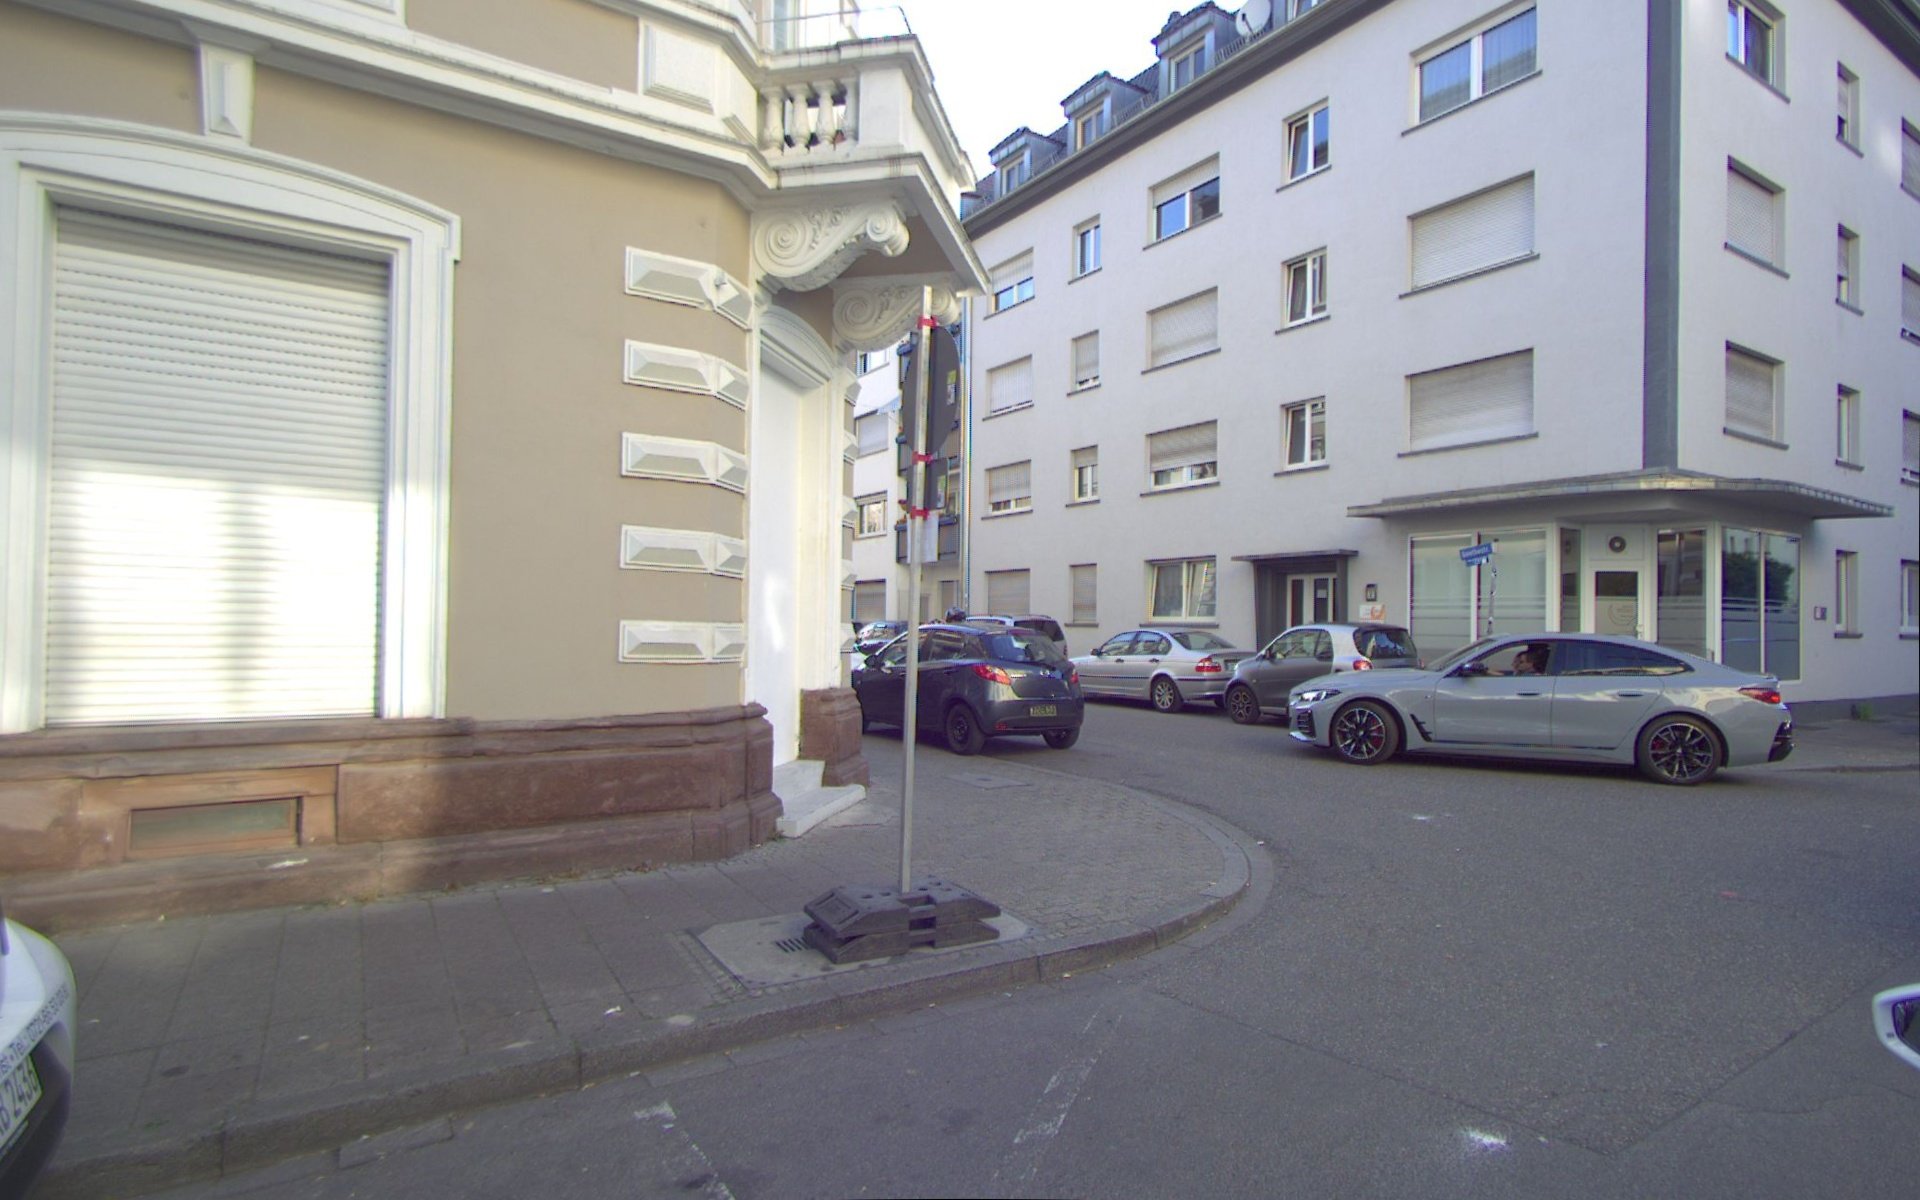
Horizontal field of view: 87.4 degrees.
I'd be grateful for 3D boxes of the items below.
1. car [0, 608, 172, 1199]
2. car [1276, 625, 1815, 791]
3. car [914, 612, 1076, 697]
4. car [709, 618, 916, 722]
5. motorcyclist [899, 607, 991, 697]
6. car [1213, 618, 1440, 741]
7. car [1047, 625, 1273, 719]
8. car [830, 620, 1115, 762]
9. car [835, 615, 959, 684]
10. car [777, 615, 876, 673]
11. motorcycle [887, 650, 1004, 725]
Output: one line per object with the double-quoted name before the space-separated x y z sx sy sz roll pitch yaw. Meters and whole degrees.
"car" -3.539 0.775 0.892 4.218 1.527 1.911 1 -3 -31
"car" 5.973 1.034 10.953 4.717 1.470 1.934 0 -1 21
"car" 0.691 1.140 22.441 1.586 1.626 3.993 1 0 -33
"car" -2.592 1.051 16.741 1.884 1.481 4.286 1 -1 -32
"motorcyclist" -0.251 0.798 15.792 0.961 1.347 1.217 1 -1 -32
"car" 5.339 1.087 14.875 1.576 1.560 2.771 1 0 -31
"car" 3.512 1.218 18.352 1.586 1.422 4.179 2 -1 -33
"car" 0.021 0.996 12.501 1.713 1.470 3.639 1 -1 -36
"car" -1.713 1.235 26.221 1.587 1.560 3.685 1 0 -34
"car" -4.062 1.282 30.200 1.586 1.560 3.470 1 0 -33
"motorcycle" -0.267 1.334 15.798 0.961 1.042 1.979 1 -1 -32
